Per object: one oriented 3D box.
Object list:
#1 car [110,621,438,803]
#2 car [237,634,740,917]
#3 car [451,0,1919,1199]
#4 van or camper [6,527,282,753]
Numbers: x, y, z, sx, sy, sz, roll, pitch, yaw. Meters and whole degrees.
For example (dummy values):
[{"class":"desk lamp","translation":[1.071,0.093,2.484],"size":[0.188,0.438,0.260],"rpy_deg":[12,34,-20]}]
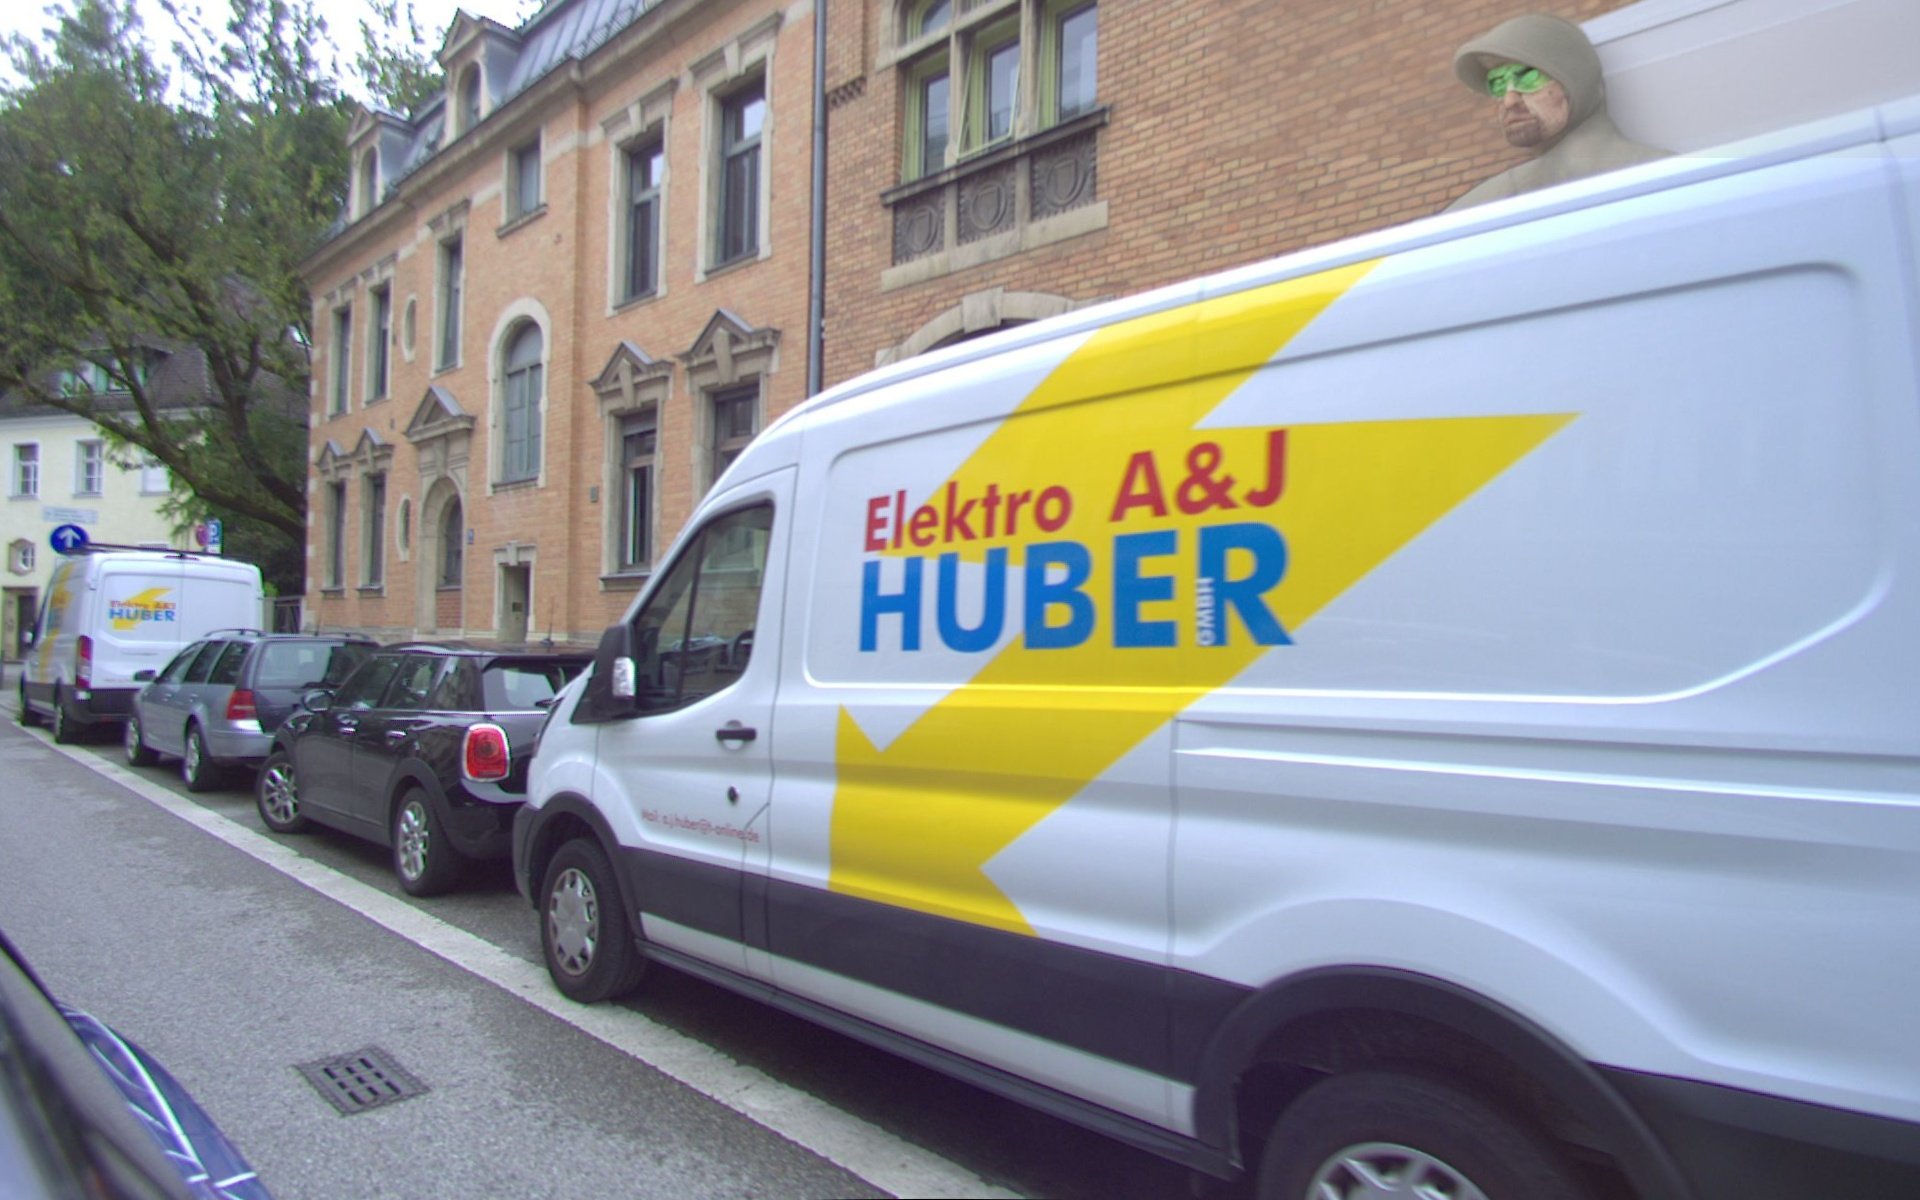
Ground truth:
[{"class":"car","translation":[-7.193,1.016,10.460],"size":[4.078,1.512,1.746],"rpy_deg":[-2,-4,40]},{"class":"car","translation":[-3.427,0.975,7.075],"size":[3.790,1.426,1.746],"rpy_deg":[-2,-4,40]},{"class":"car","translation":[0.464,0.351,3.548],"size":[5.227,2.495,2.090],"rpy_deg":[-2,-4,40]},{"class":"van or camper","translation":[-11.725,0.568,14.417],"size":[4.954,2.682,2.089],"rpy_deg":[-2,-4,40]}]
